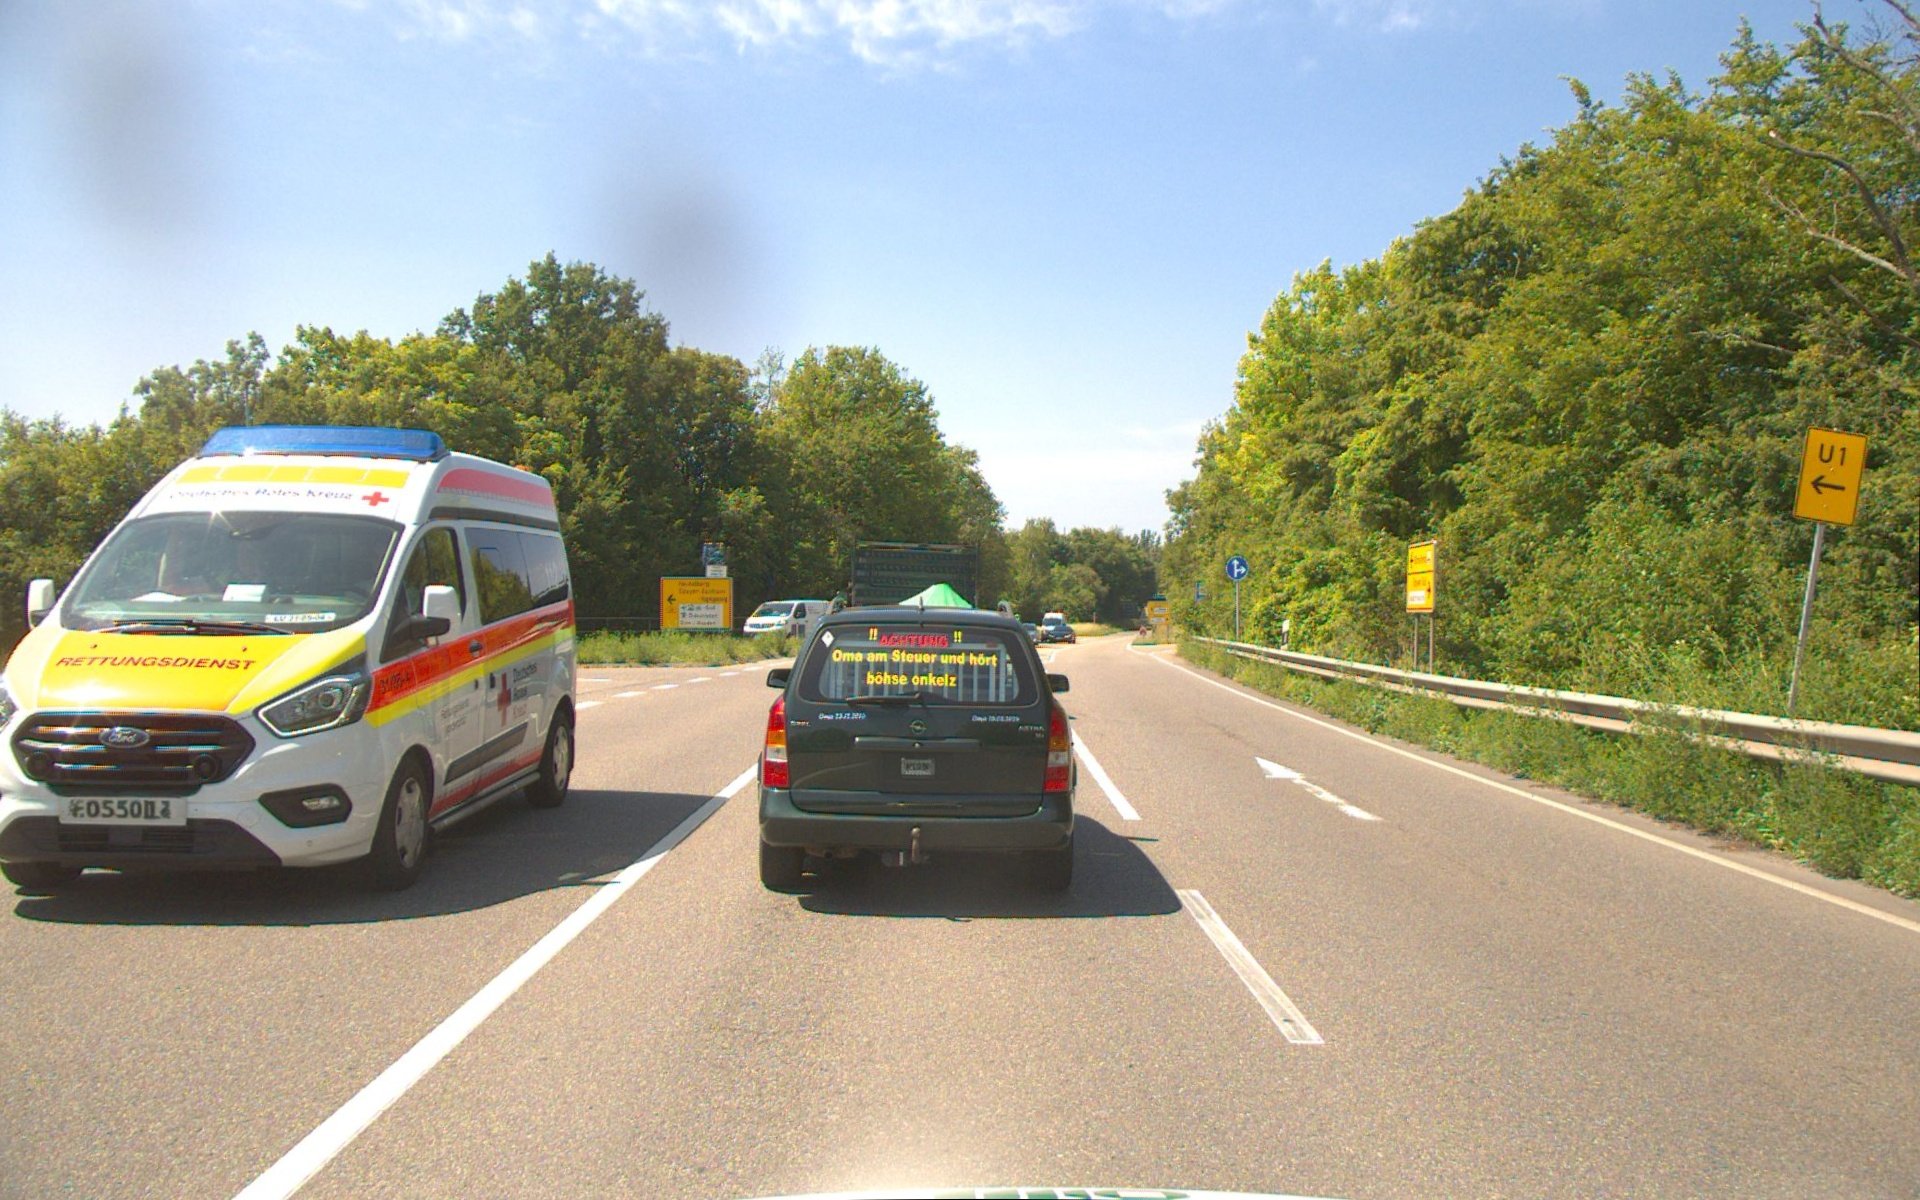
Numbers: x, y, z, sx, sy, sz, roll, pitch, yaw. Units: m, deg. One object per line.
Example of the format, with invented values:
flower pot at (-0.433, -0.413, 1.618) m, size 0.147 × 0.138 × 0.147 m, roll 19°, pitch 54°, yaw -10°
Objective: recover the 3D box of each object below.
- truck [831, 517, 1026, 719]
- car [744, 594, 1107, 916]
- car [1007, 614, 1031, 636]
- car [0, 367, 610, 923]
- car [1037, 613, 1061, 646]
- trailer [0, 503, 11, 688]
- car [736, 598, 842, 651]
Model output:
truck at (-0.654, 0.246, 24.816) m, size 2.099 × 2.610 × 6.626 m, roll 1°, pitch 0°, yaw -8°
car at (-0.156, 0.721, 9.665) m, size 1.685 × 1.482 × 3.797 m, roll 1°, pitch 0°, yaw 0°
car at (4.013, 1.715, 112.211) m, size 1.610 × 1.443 × 3.767 m, roll 1°, pitch -1°, yaw 2°
car at (-3.595, 0.186, 9.837) m, size 1.950 × 2.409 × 5.180 m, roll 1°, pitch 0°, yaw -1°
car at (8.190, 2.667, 151.934) m, size 2.061 × 2.900 × 6.014 m, roll 1°, pitch -1°, yaw 3°
trailer at (-28.976, 0.092, 36.533) m, size 13.582 × 4.350 × 2.973 m, roll -2°, pitch 1°, yaw -27°
car at (-6.649, 0.938, 64.859) m, size 1.969 × 1.957 × 5.194 m, roll 1°, pitch 0°, yaw 21°
